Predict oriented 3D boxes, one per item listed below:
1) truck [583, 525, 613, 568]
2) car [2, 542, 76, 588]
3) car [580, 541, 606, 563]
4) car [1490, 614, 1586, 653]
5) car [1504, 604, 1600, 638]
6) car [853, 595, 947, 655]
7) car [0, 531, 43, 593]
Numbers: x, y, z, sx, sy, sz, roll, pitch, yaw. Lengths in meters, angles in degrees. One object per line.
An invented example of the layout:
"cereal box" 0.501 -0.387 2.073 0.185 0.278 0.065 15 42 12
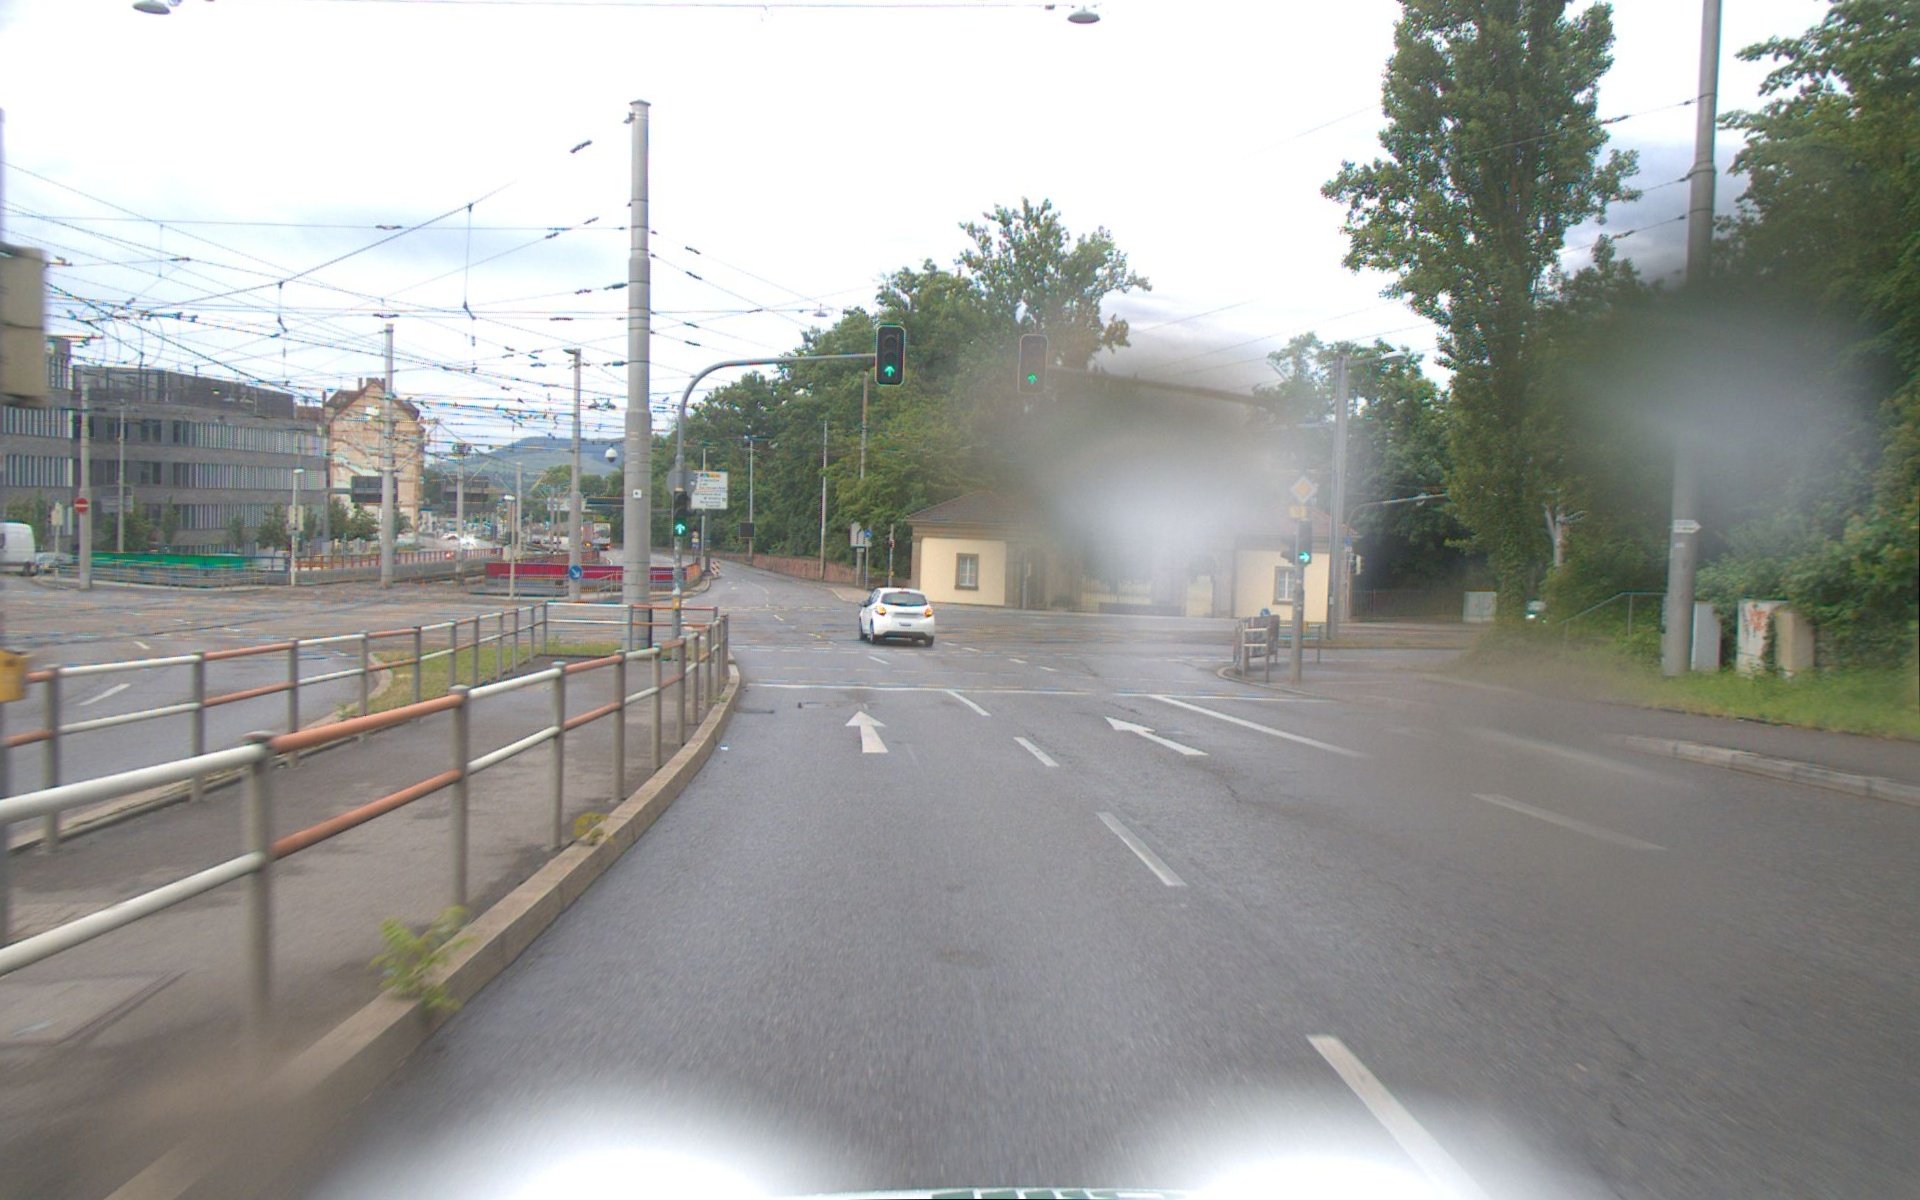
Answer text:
"truck" -52.483 -7.708 239.443 3.408 5.496 11.998 1 -1 -16
"car" -48.056 -1.791 86.386 1.956 2.191 4.238 0 -2 -9
"car" -32.397 -4.229 145.838 1.962 1.905 3.981 0 1 -17
"car" 27.047 1.579 77.383 4.202 1.765 1.980 2 -2 -30
"car" 27.340 0.991 76.365 4.202 1.481 1.980 2 -2 -30
"car" -1.670 0.680 44.637 1.920 1.514 3.989 1 -1 -11
"car" -45.737 -1.769 78.406 1.956 2.881 5.707 -1 1 -8
